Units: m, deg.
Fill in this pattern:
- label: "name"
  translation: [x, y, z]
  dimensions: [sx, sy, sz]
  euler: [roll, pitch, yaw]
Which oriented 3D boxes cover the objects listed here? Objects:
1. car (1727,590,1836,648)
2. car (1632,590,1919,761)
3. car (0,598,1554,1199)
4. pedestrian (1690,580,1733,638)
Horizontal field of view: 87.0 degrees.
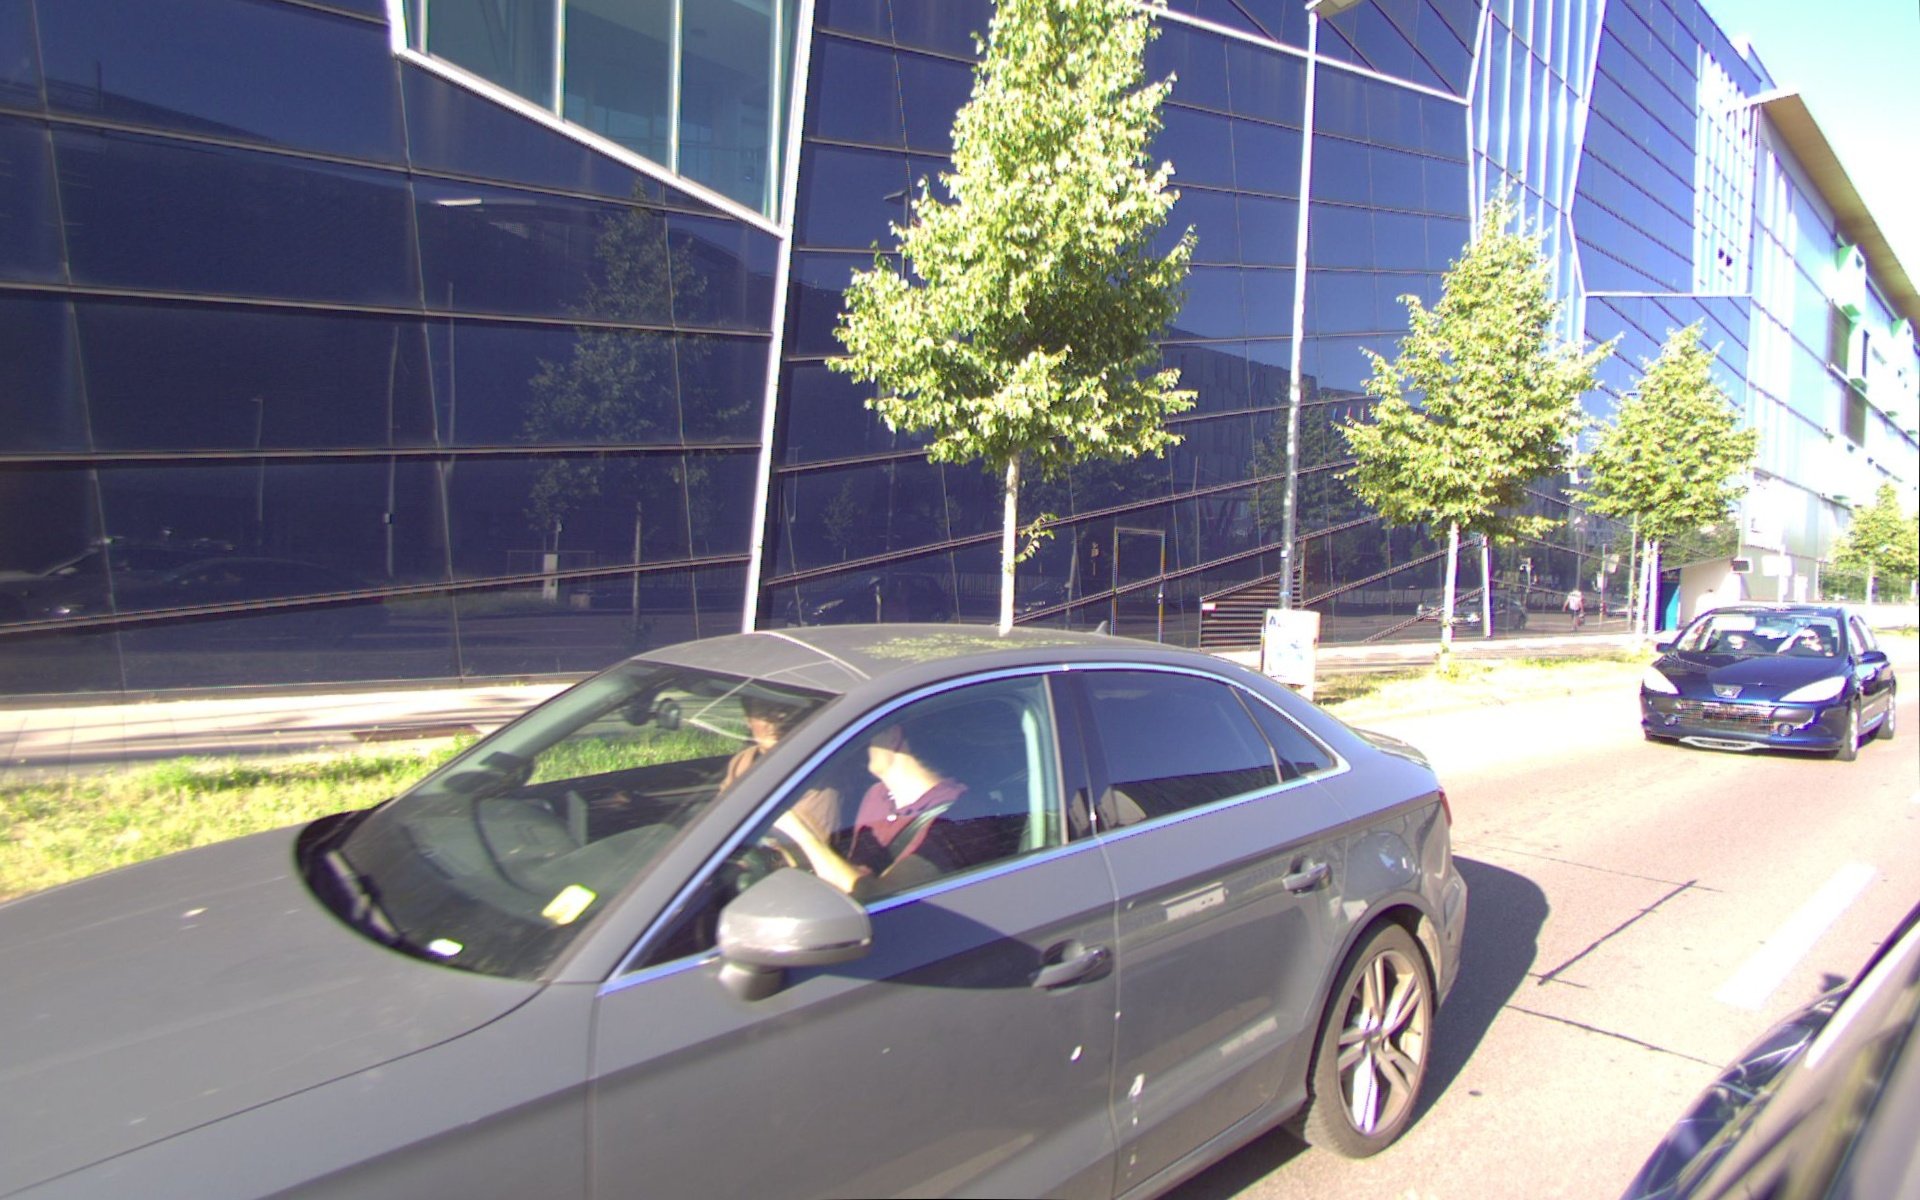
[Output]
- label: "car"
  translation: [25.083, 0.544, 30.855]
  dimensions: [4.633, 1.516, 1.739]
  euler: [0, 3, -41]
- label: "car"
  translation: [8.883, 0.668, 10.914]
  dimensions: [3.902, 1.497, 1.752]
  euler: [0, 0, -41]
- label: "car"
  translation: [-0.271, 0.721, 2.614]
  dimensions: [4.187, 1.409, 1.750]
  euler: [0, 1, -39]
- label: "pedestrian"
  translation: [25.374, 0.302, 34.172]
  dimensions: [0.889, 1.846, 0.829]
  euler: [1, 5, -41]
